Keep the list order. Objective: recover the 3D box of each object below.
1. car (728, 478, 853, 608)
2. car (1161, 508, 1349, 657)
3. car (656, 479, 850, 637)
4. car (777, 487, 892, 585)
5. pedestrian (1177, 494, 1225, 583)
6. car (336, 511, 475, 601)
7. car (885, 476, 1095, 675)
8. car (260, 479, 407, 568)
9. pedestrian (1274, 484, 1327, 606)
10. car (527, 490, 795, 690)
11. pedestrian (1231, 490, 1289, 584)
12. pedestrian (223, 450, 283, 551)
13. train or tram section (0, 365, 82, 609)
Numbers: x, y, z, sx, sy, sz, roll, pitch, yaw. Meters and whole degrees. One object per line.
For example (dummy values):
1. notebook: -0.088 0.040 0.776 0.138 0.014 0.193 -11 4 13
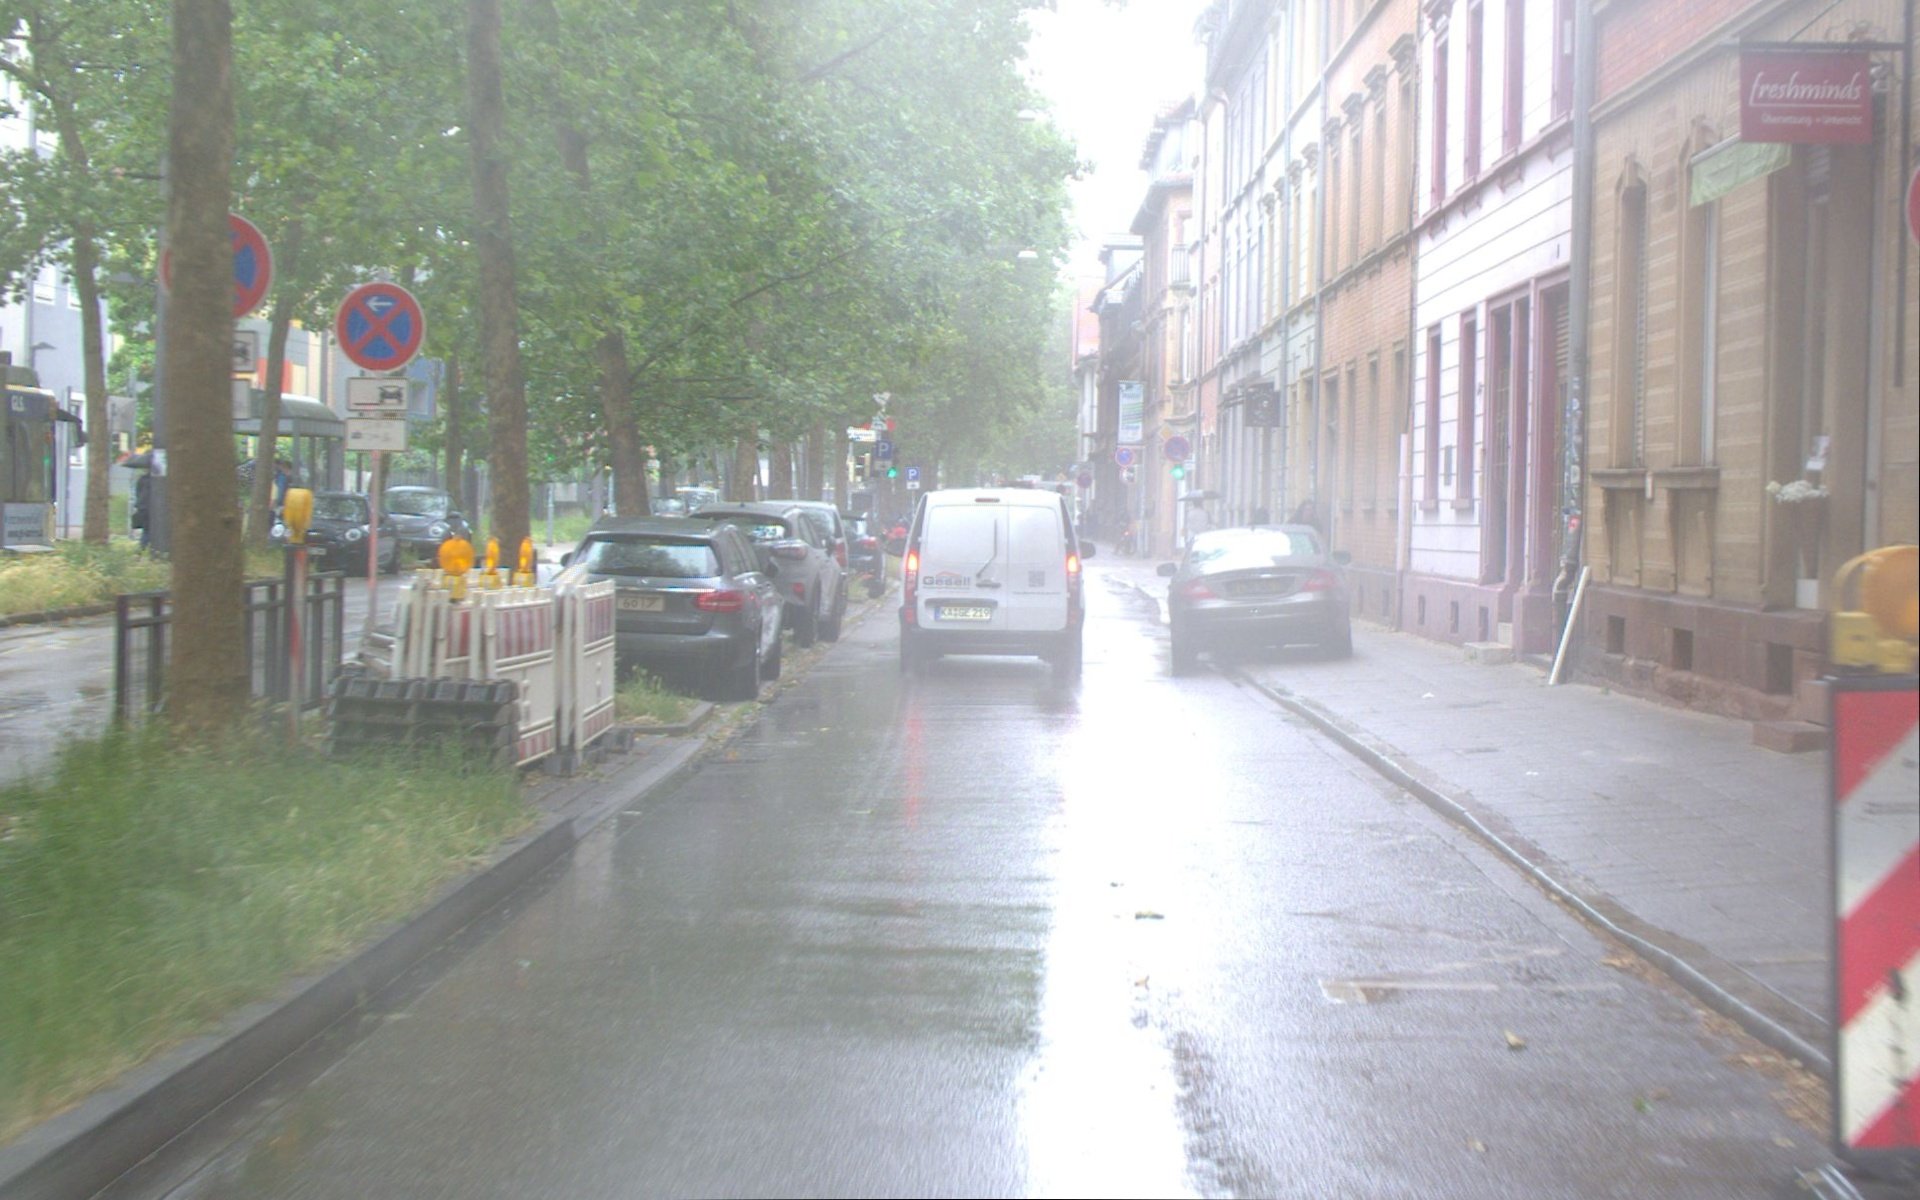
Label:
1. car: -2.358 -0.833 48.399 1.623 1.676 3.660 2 2 -2
2. car: 3.069 -0.232 36.395 1.814 1.416 4.696 -2 1 4
3. car: -2.259 -0.497 38.474 1.699 1.630 4.355 1 1 2
4. car: -2.076 -1.087 57.679 1.649 1.495 4.119 3 1 1
5. pedestrian: 4.713 -1.212 67.339 0.840 1.710 1.108 -2 2 1
6. car: -10.696 -0.880 66.573 1.993 1.607 4.000 2 2 0
7. car: 0.322 -0.239 33.990 1.904 1.791 4.113 2 0 1
8. car: -10.614 -1.314 58.464 1.738 1.338 3.756 4 2 0
9. pedestrian: 4.732 -0.767 47.752 0.638 1.679 0.603 -1 1 0
10. car: -2.475 -0.130 29.480 1.828 1.498 4.614 3 1 0
11. pedestrian: 4.887 -1.034 56.100 0.840 1.506 1.108 -1 2 1
12. pedestrian: -12.134 -1.714 59.015 0.818 1.698 0.872 2 2 0
13. train or tram section: -15.540 -1.659 47.249 3.106 3.546 14.675 1 0 0
